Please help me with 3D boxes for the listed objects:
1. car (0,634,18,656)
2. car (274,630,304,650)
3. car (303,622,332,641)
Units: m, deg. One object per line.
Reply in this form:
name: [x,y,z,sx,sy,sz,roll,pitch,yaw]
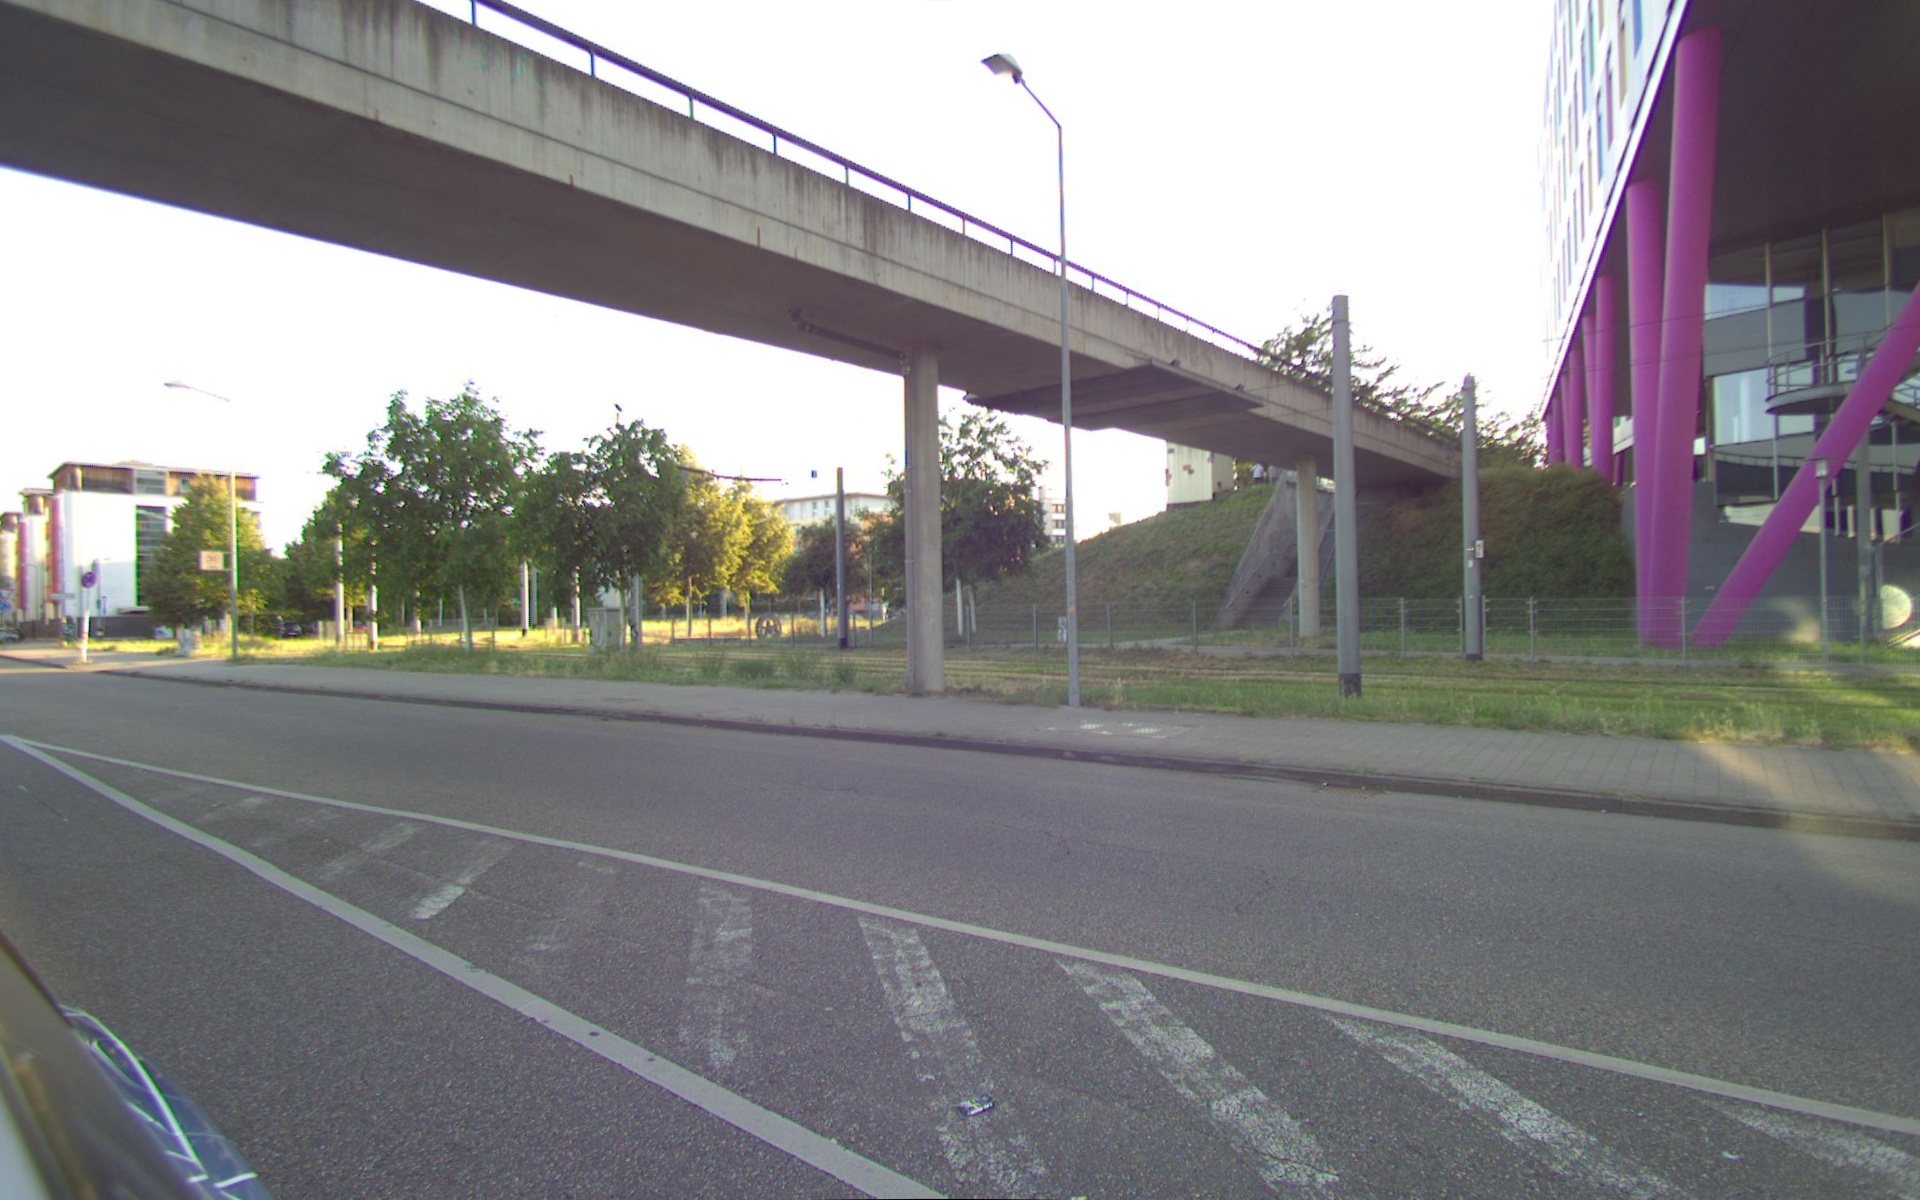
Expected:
car: [-80.377,3.736,83.359,2.000,1.741,3.944,-2,-1,42]
car: [-56.865,3.359,85.747,1.913,1.541,4.009,-1,-1,-36]
car: [-55.280,2.722,87.065,1.913,1.541,4.009,-1,-1,-36]
